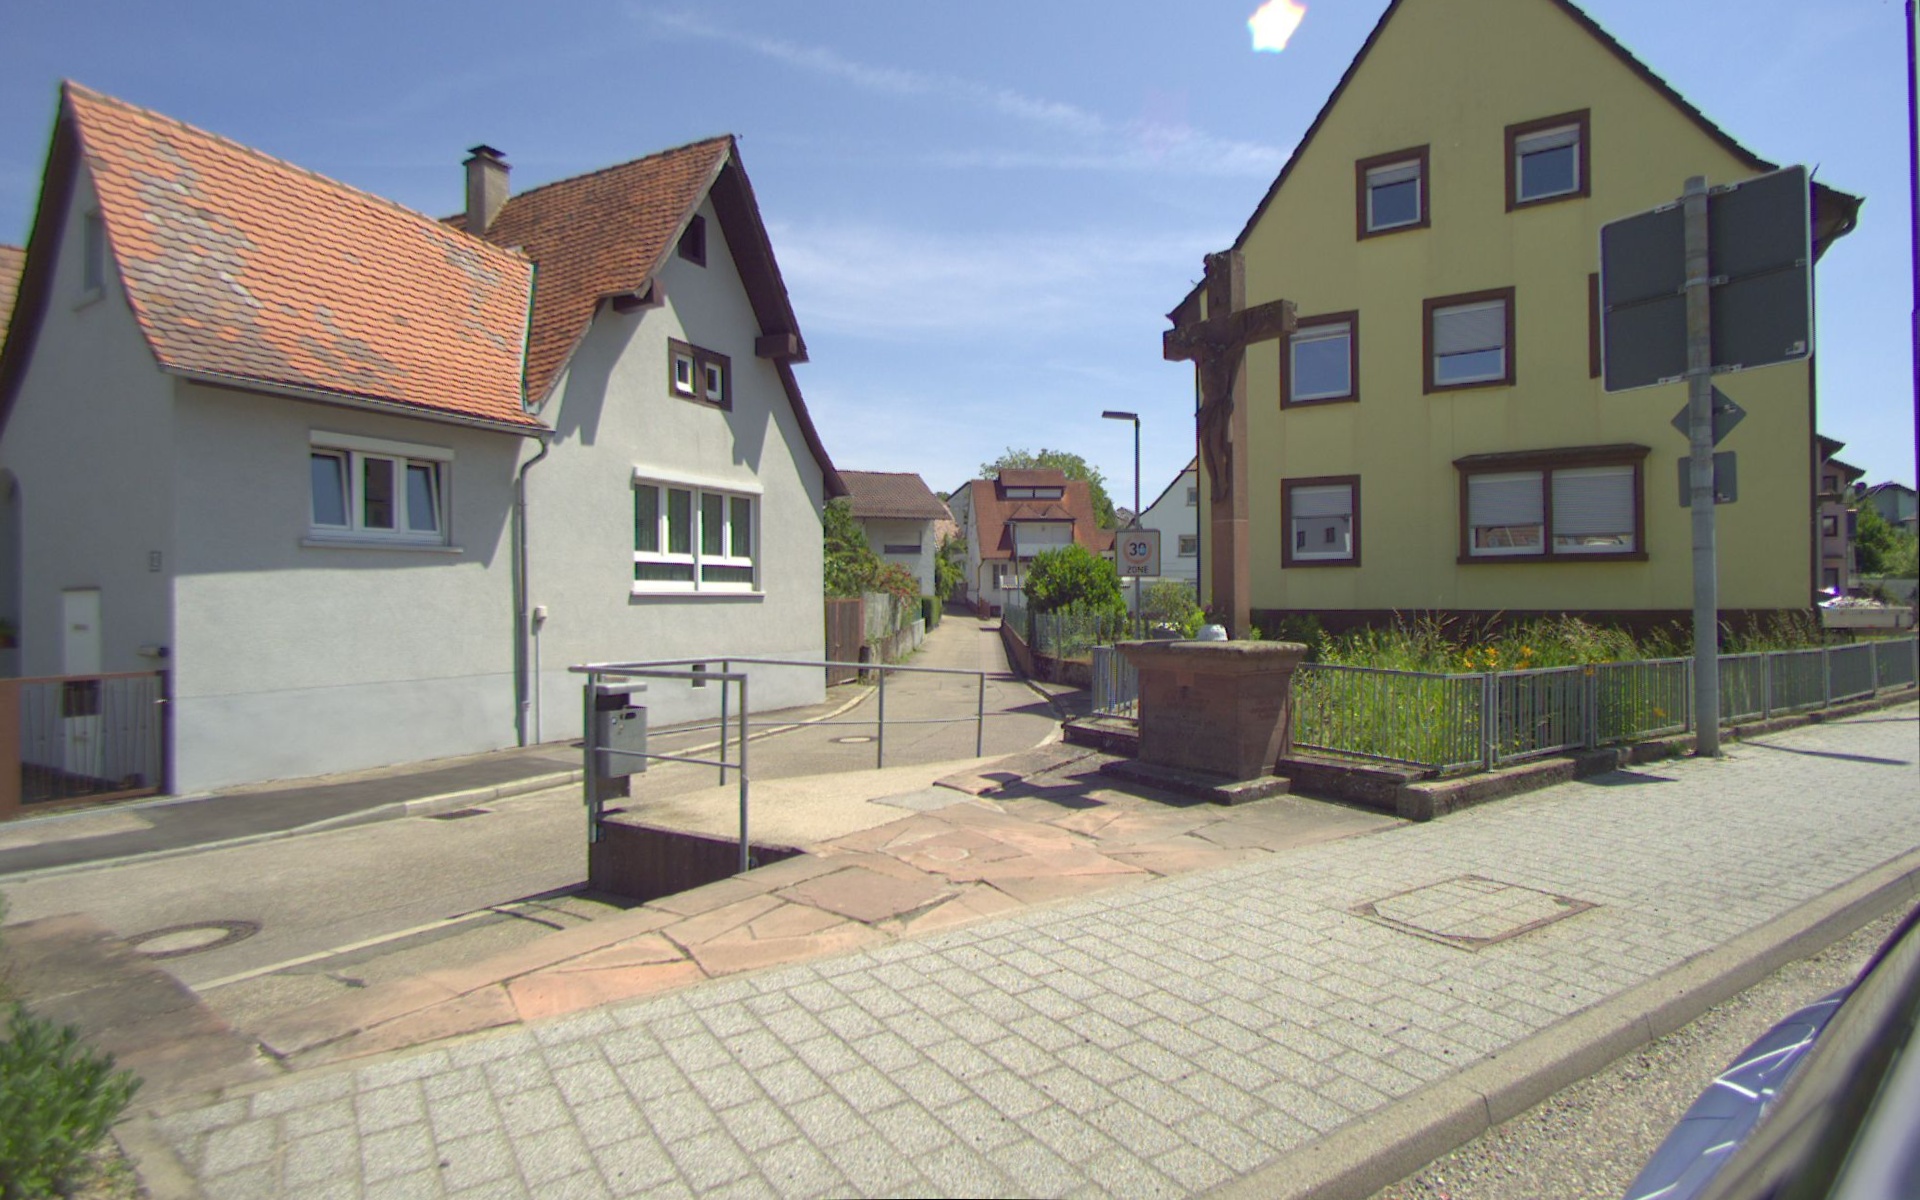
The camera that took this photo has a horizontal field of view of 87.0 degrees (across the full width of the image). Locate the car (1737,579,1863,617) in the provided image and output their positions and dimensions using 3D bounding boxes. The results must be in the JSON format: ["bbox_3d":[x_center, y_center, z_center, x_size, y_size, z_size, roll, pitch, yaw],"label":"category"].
[{"bbox_3d":[34.611,-0.111,41.824,3.811,1.504,1.740,1,1,34],"label":"car"}]

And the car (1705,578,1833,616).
[{"bbox_3d":[35.324,-0.132,44.330,4.090,1.567,1.831,-1,0,30],"label":"car"}]

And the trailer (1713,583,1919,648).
[{"bbox_3d":[23.000,0.387,26.198,5.314,1.566,2.117,-2,0,29],"label":"trailer"}]
